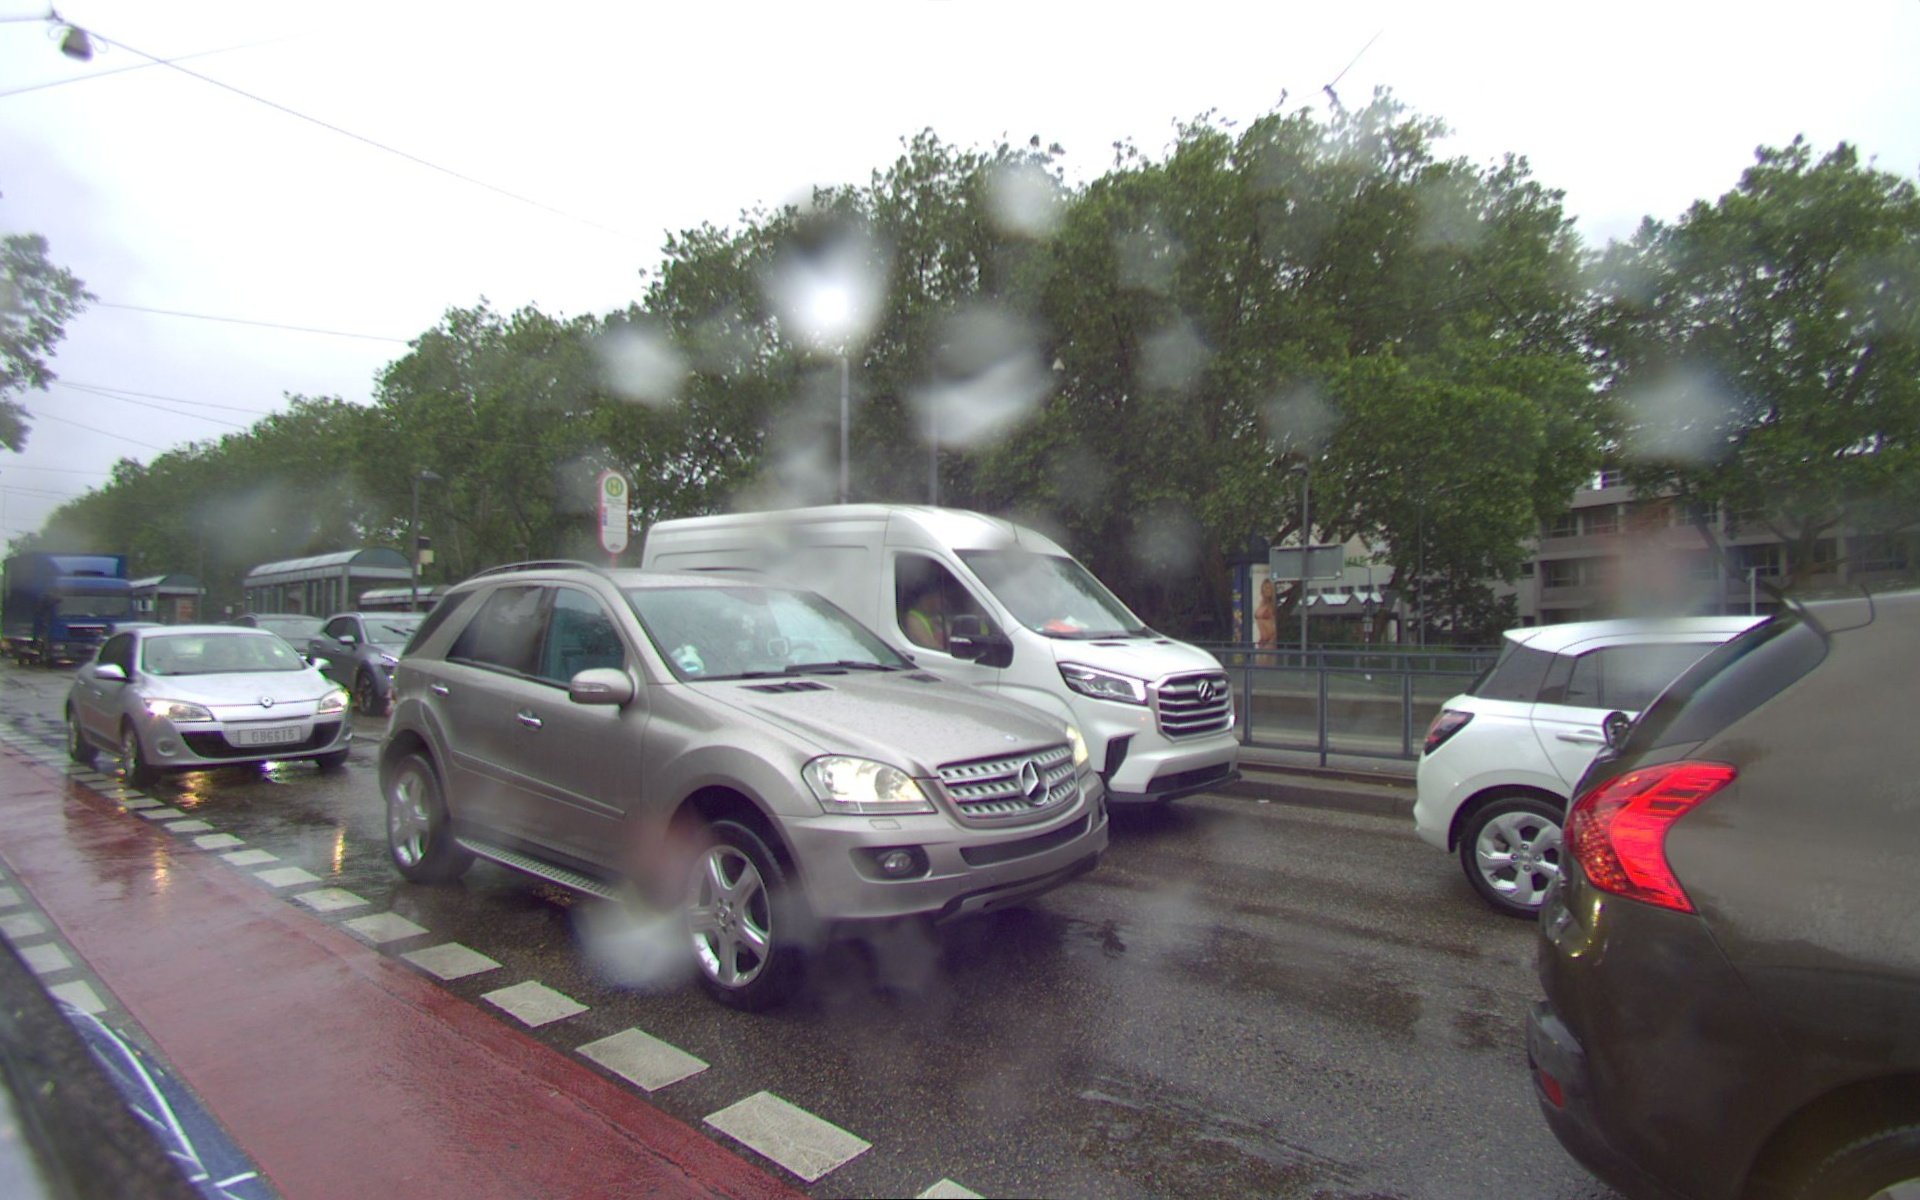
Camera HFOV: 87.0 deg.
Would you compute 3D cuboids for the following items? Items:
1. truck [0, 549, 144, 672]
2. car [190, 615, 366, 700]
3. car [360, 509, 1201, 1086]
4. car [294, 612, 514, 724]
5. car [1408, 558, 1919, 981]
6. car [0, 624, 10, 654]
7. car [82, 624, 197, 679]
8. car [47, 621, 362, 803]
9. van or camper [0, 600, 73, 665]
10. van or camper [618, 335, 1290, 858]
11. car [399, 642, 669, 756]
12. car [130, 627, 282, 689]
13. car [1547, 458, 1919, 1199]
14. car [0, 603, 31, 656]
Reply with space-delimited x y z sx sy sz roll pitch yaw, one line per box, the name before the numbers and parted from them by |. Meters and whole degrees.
truck | -32.219 0.450 36.334 9.803 3.919 2.513 -1 -3 40
car | -14.652 1.166 21.675 4.316 1.633 1.974 -1 -2 40
car | -1.234 0.643 5.353 4.459 1.783 2.004 -1 -1 40
car | -9.439 1.058 17.032 4.454 1.636 1.894 -1 -2 43
car | 4.272 0.671 4.538 3.834 1.641 1.628 -1 -2 41
car | -52.357 2.093 54.064 3.998 1.589 1.973 -1 -1 41
car | -24.380 1.479 30.034 4.074 1.498 1.871 -1 -2 40
car | -7.853 0.974 10.390 3.998 1.489 1.750 -1 -1 40
van or camper | -40.050 1.364 43.544 6.427 2.590 1.973 -1 0 41
van or camper | -0.393 0.041 8.820 5.846 3.166 2.136 -1 -2 40
car | -5.453 1.134 12.707 4.084 1.126 1.448 -1 -1 40
car | -18.834 1.384 25.200 4.602 1.405 1.973 -1 -3 40
car | 3.282 0.595 1.232 4.170 1.681 1.815 -1 -1 41
car | -46.722 1.427 49.090 5.727 2.445 1.972 -1 0 43
